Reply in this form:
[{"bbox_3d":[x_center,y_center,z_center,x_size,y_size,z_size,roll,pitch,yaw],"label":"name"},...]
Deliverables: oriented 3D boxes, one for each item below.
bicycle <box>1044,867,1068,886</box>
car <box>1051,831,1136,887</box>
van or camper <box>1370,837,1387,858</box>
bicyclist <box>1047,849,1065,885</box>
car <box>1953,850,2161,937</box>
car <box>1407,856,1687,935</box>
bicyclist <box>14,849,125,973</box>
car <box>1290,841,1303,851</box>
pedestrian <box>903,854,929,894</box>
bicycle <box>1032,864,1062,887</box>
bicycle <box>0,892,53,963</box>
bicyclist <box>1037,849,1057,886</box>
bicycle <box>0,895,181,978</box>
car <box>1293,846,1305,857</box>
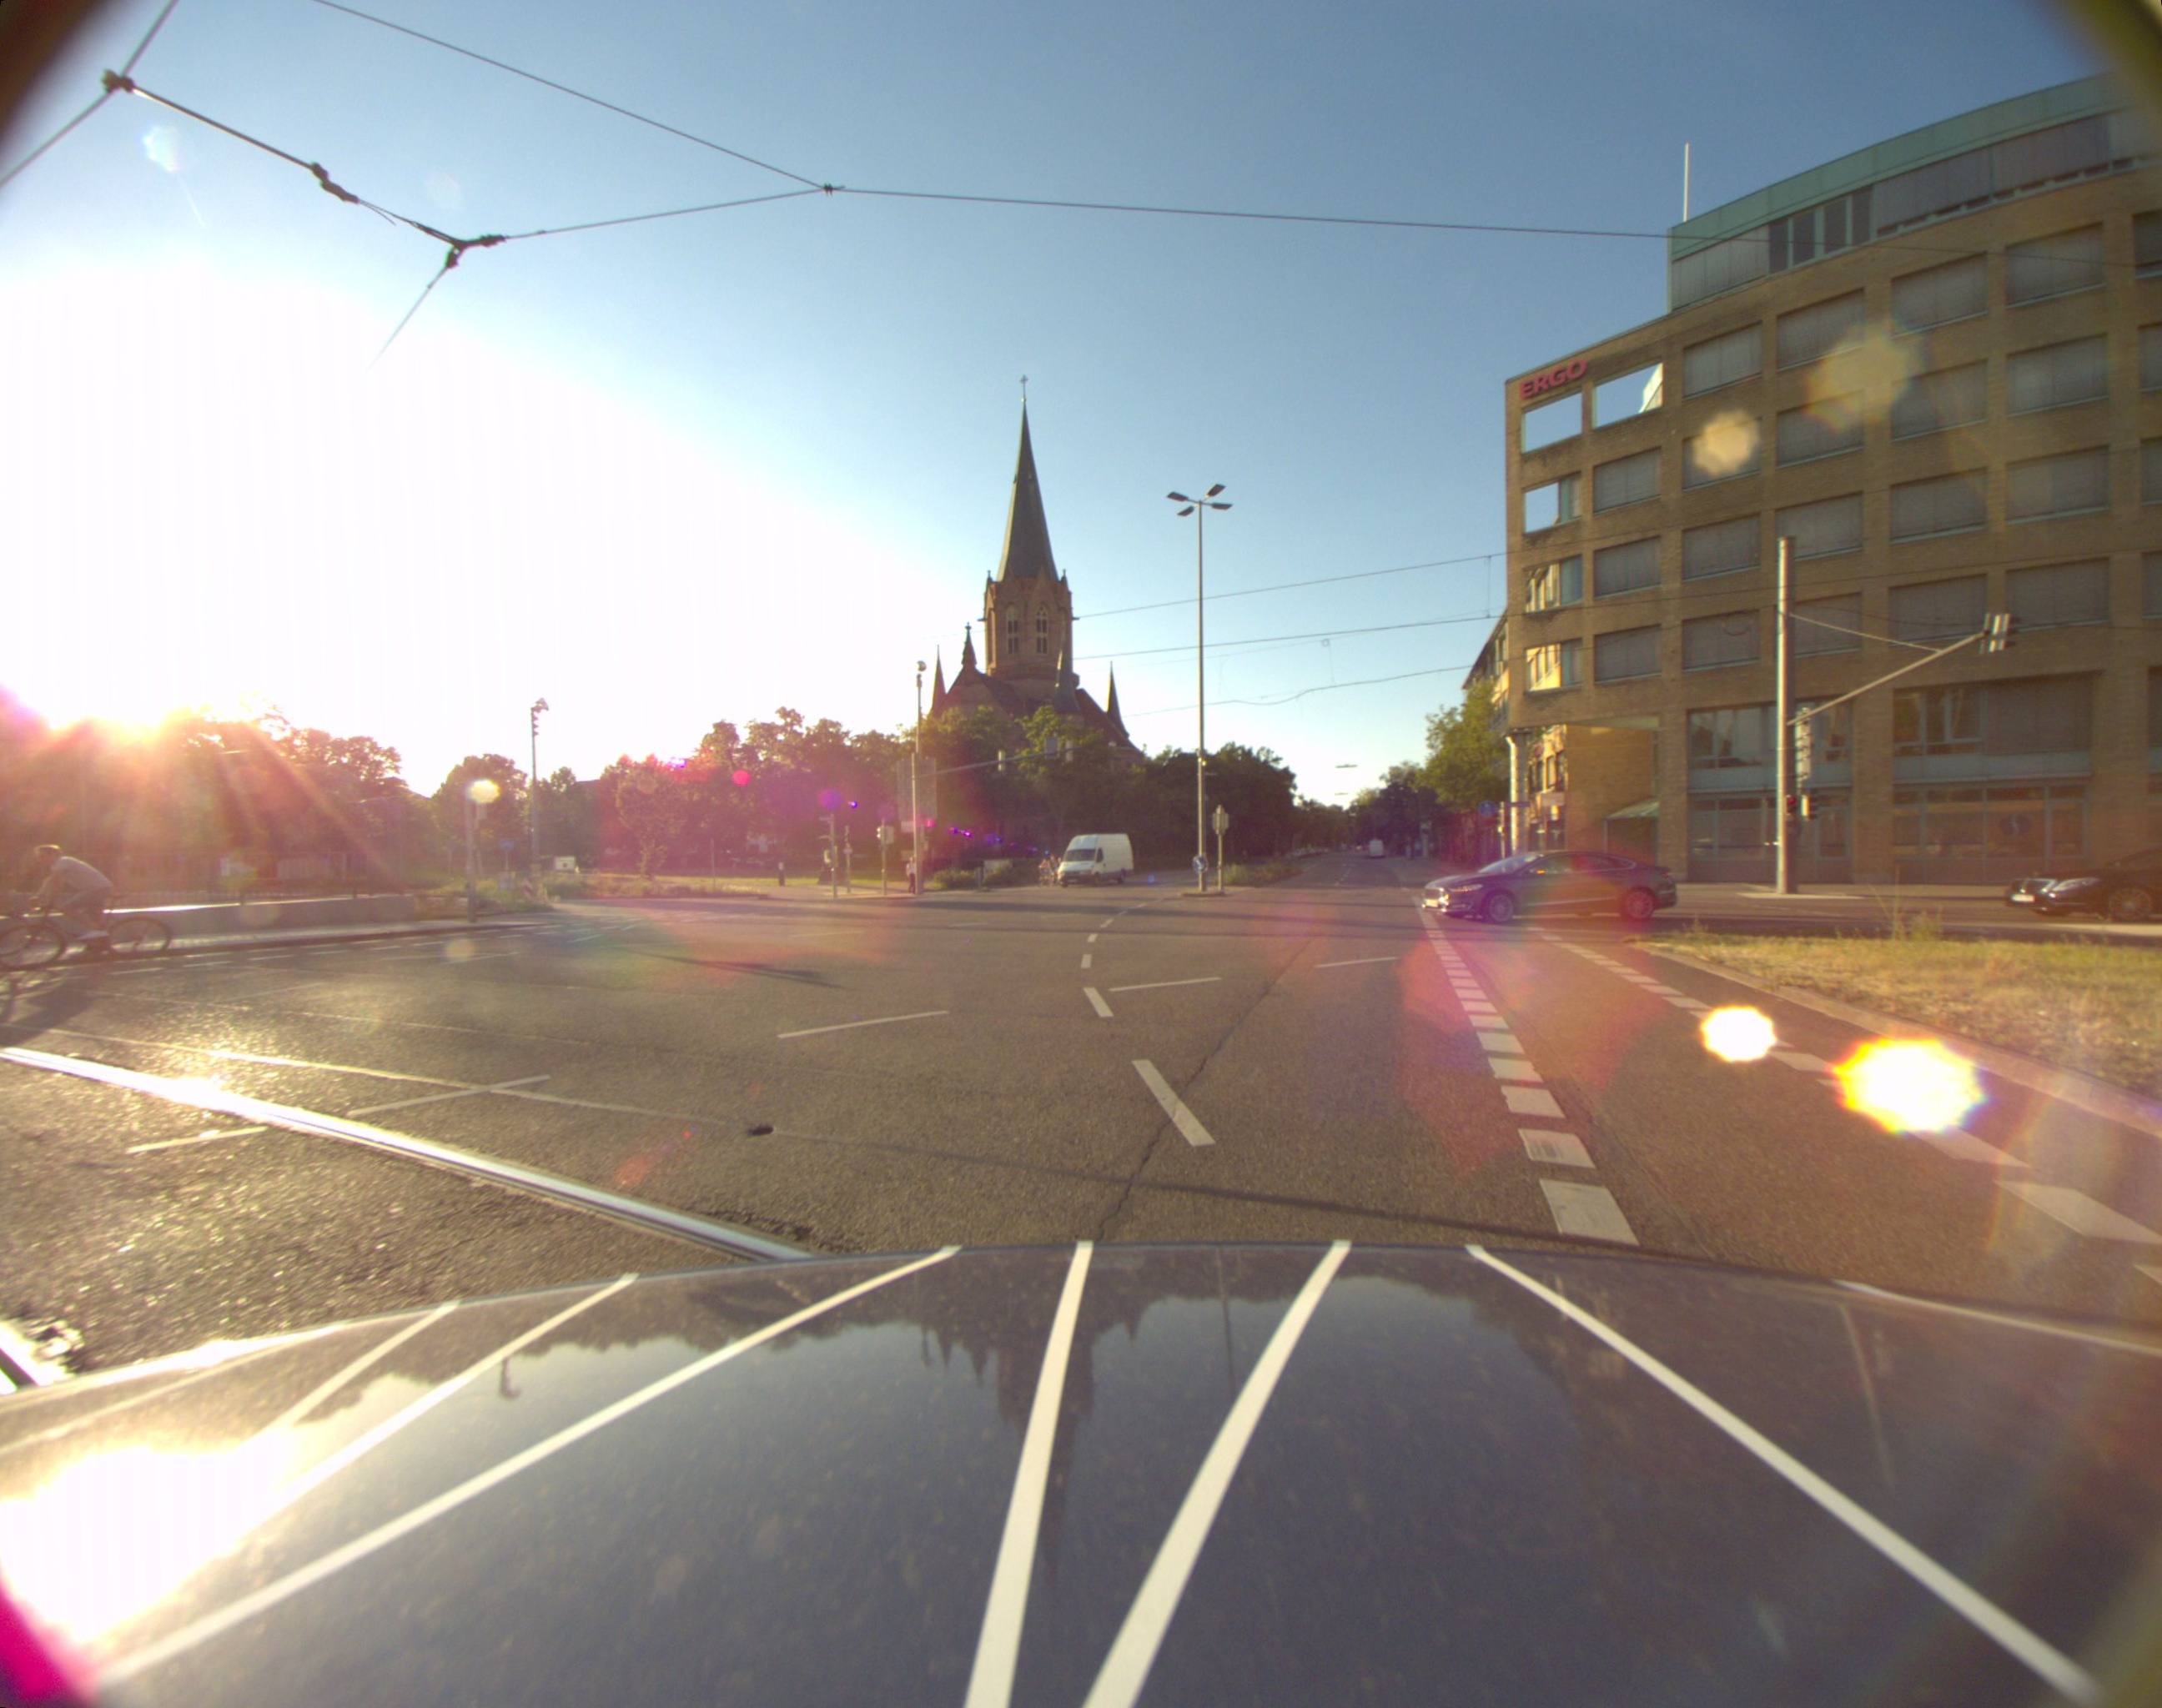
[{"bbox_3d":[-1.406,1.267,43.312,0.672,0.976,1.623,0,1,25],"label":"bicycle"},{"bbox_3d":[0.842,0.203,41.543,2.088,2.811,7.045,0,1,23],"label":"car"},{"bbox_3d":[42.787,-0.931,109.255,2.150,2.826,4.410,-1,1,22],"label":"van or camper"},{"bbox_3d":[-1.418,0.719,43.295,0.665,2.002,0.876,0,1,25],"label":"bicyclist"},{"bbox_3d":[20.350,0.715,14.391,4.694,1.526,1.901,-1,1,21],"label":"car"},{"bbox_3d":[9.599,0.818,15.936,4.722,1.477,1.891,-1,1,0],"label":"car"},{"bbox_3d":[-15.439,0.839,11.612,0.645,1.808,0.796,-1,1,18],"label":"bicyclist"},{"bbox_3d":[36.808,-1.414,129.715,1.996,1.648,4.004,-1,1,13],"label":"car"},{"bbox_3d":[-7.709,0.924,35.558,0.808,1.793,0.837,0,1,36],"label":"pedestrian"},{"bbox_3d":[-1.832,1.135,41.125,0.732,1.169,1.977,0,1,26],"label":"bicycle"},{"bbox_3d":[-17.433,1.218,11.500,0.538,1.078,2.171,-1,3,8],"label":"bicycle"},{"bbox_3d":[-1.822,0.713,41.131,0.720,2.002,0.903,0,1,26],"label":"bicyclist"},{"bbox_3d":[-15.410,1.223,11.684,0.631,1.069,1.909,-1,1,17],"label":"bicycle"},{"bbox_3d":[35.814,-0.423,125.004,1.903,1.608,4.004,-1,1,16],"label":"car"}]
